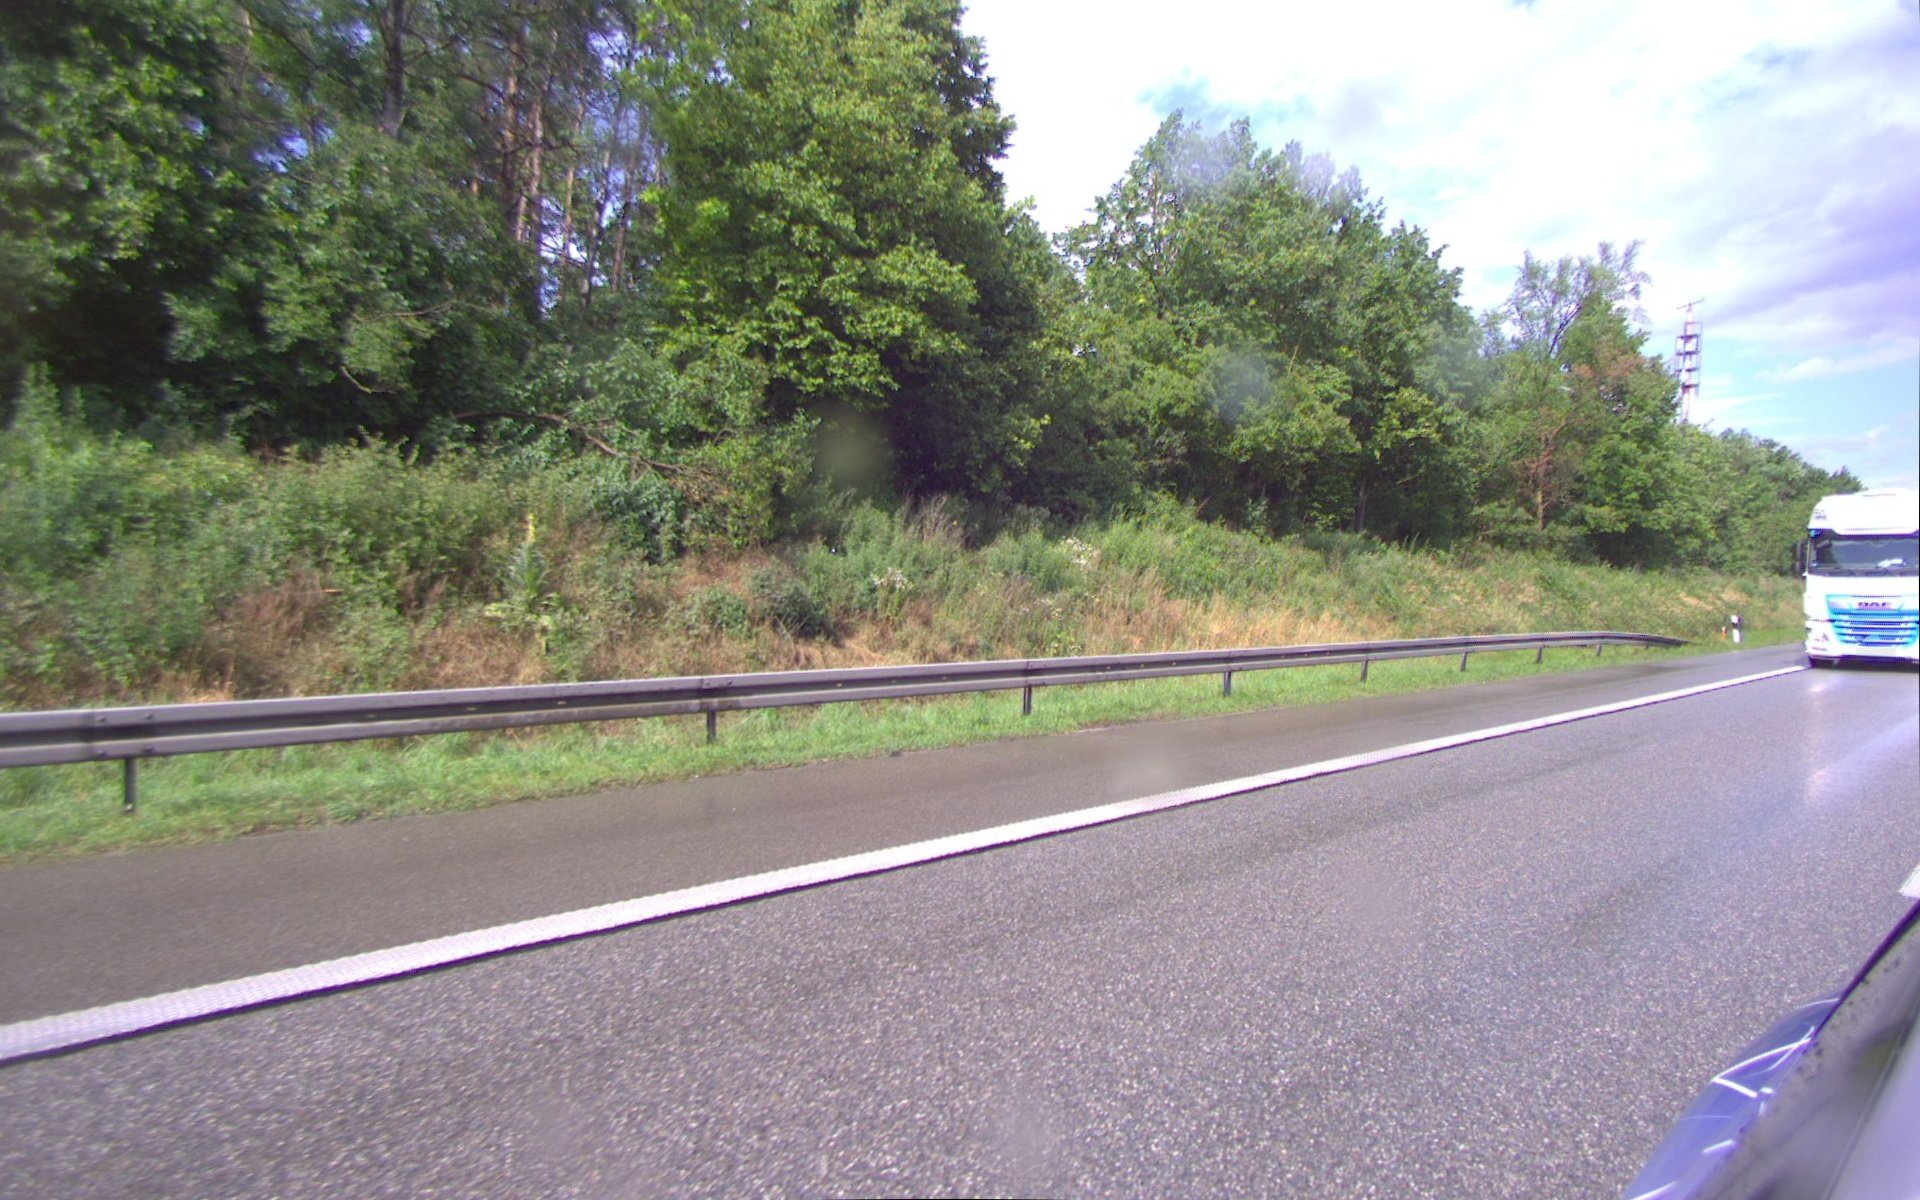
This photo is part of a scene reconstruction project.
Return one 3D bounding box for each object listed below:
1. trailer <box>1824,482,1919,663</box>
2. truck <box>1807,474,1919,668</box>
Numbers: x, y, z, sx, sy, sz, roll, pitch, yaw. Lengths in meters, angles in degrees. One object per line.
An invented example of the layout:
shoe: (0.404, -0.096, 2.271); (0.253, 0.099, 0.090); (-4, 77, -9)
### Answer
trailer: (26.518, -0.652, 27.434); (13.817, 4.046, 2.639); (0, 0, -41)
truck: (22.413, -0.623, 23.868); (7.162, 4.046, 2.611); (0, 0, -41)
